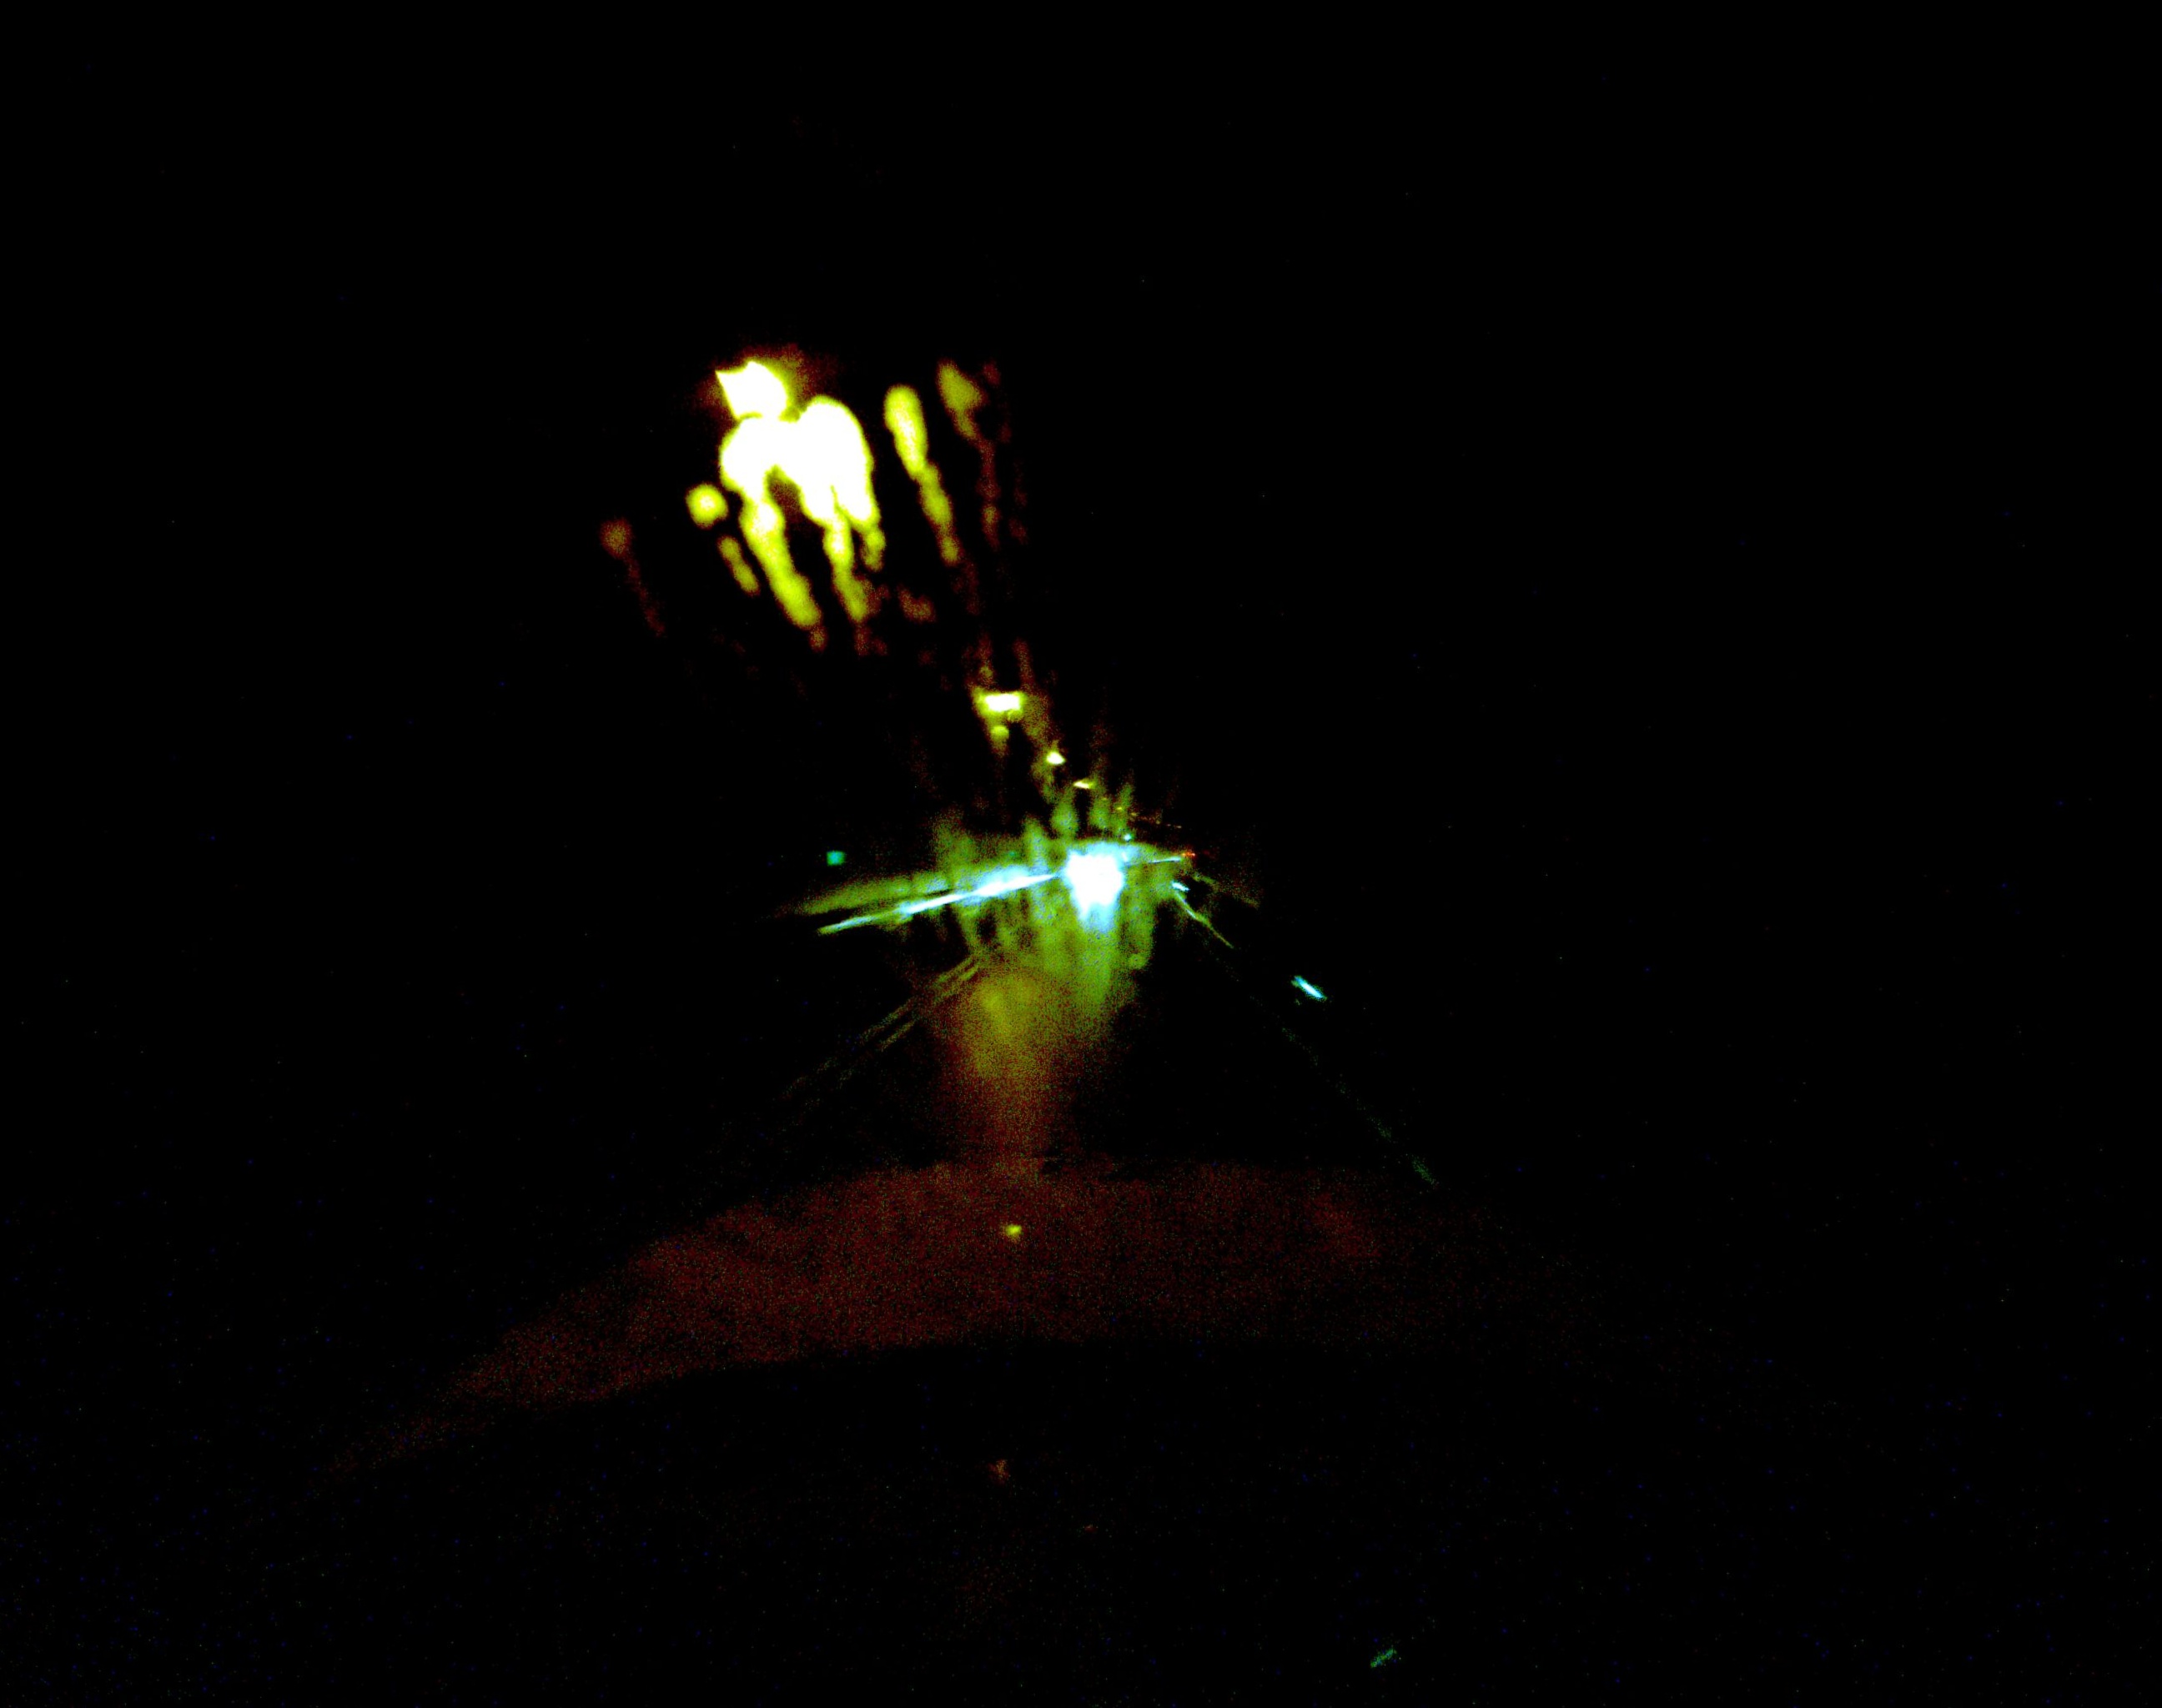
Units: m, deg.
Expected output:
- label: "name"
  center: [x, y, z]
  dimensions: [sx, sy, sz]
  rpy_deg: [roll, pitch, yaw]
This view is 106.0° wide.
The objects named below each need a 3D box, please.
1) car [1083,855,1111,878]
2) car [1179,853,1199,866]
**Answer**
- label: "car"
  center: [1.145, 0.829, 56.309]
  dimensions: [1.701, 1.510, 4.084]
  rpy_deg: [0, 0, 4]
- label: "car"
  center: [14.591, 0.692, 110.231]
  dimensions: [1.978, 1.650, 4.018]
  rpy_deg: [0, 0, 17]
